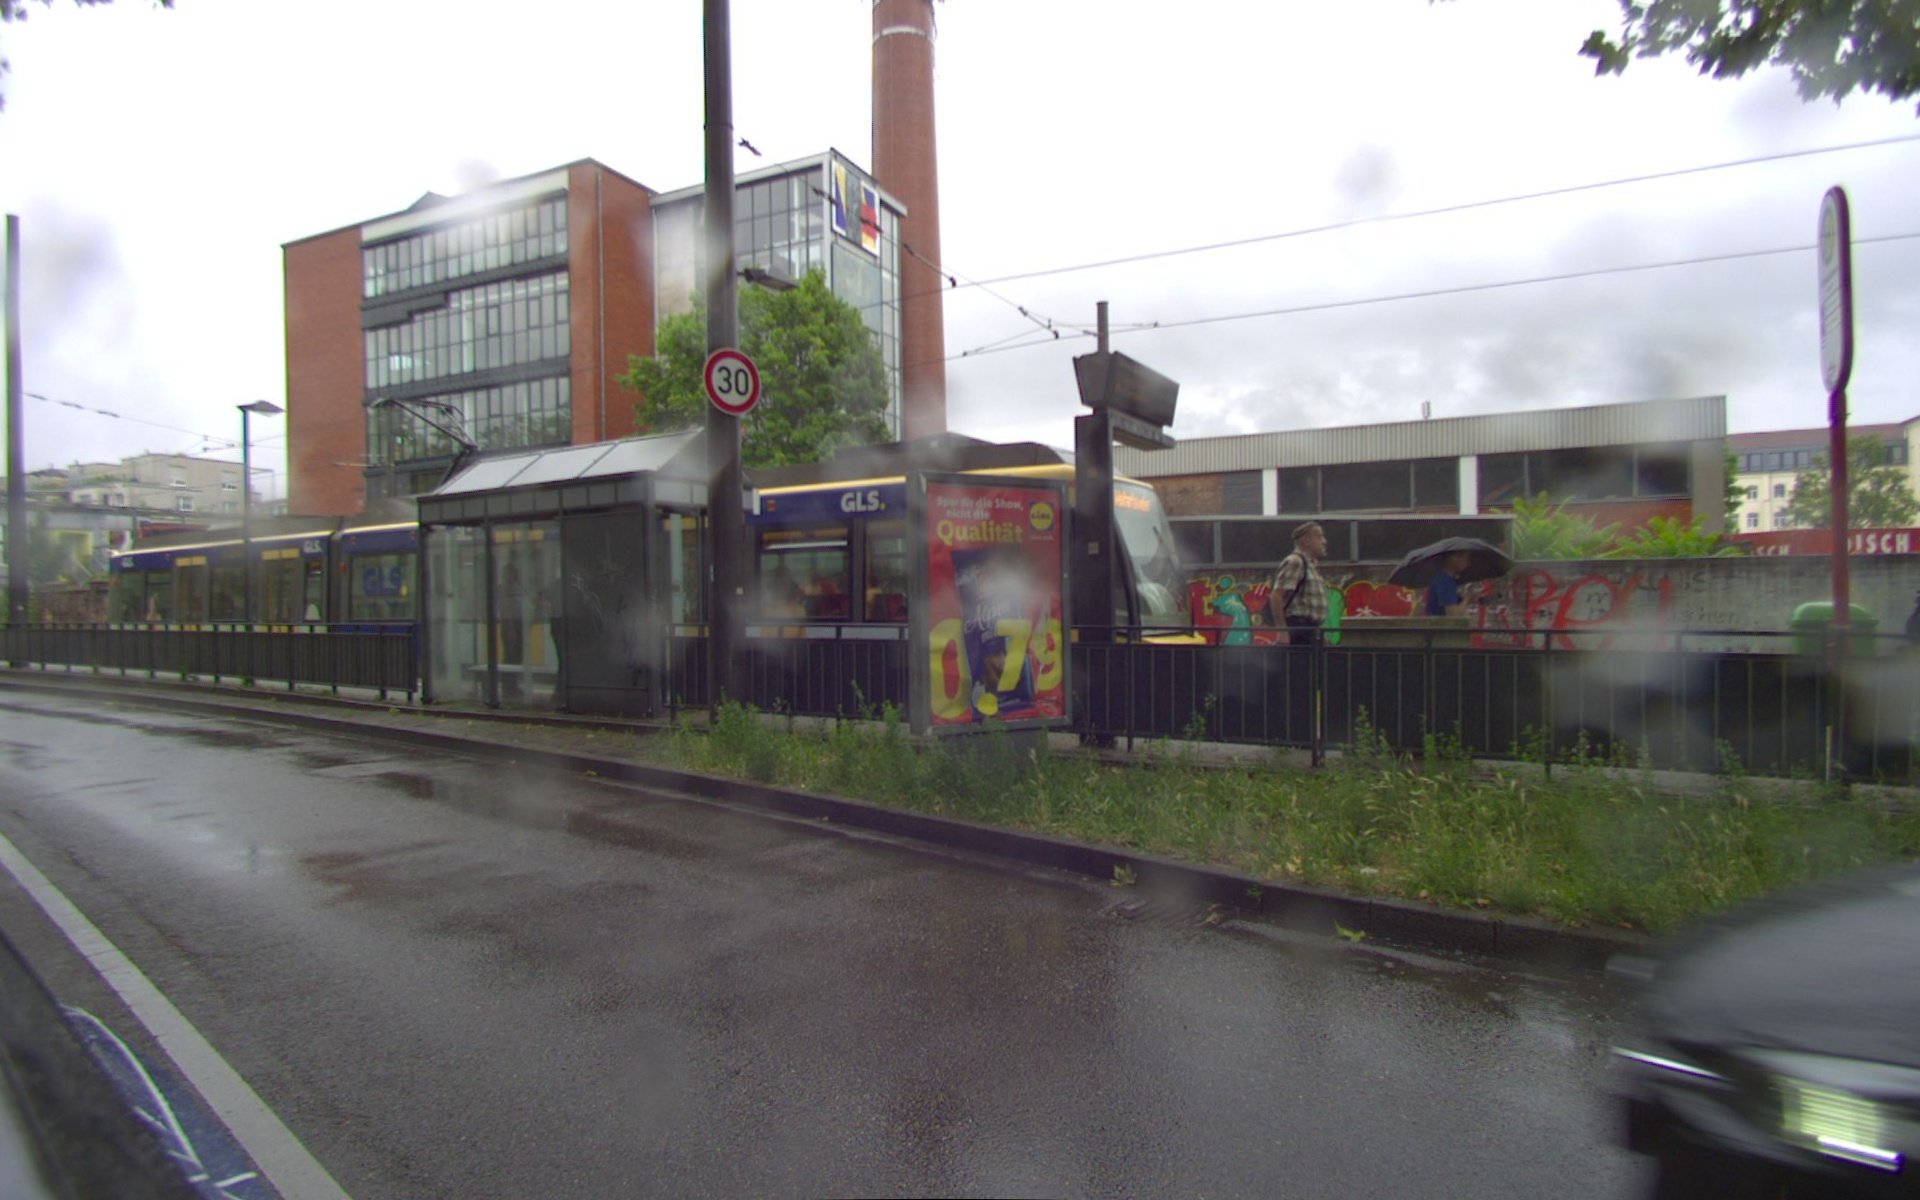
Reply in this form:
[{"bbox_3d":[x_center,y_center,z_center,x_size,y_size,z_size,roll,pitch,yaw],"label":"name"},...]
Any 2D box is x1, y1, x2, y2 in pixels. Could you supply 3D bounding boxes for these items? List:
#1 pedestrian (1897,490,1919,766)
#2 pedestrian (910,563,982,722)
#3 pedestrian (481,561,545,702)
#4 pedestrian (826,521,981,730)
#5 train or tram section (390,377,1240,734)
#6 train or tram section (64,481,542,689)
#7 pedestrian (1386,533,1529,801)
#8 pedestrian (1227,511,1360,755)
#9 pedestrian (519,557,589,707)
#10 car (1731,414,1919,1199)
[{"bbox_3d":[6.222,0.149,5.897,0.651,1.696,0.797,-2,-3,4],"label":"pedestrian"},{"bbox_3d":[-0.139,0.450,10.648,0.651,1.584,0.797,-2,-3,4],"label":"pedestrian"},{"bbox_3d":[-5.787,0.395,13.115,0.620,1.762,0.515,-1,0,-41],"label":"pedestrian"},{"bbox_3d":[-0.528,0.264,9.580,1.072,1.840,0.975,-4,-4,30],"label":"pedestrian"},{"bbox_3d":[-3.112,-0.346,14.893,13.666,3.572,2.839,-1,0,31],"label":"train or tram section"},{"bbox_3d":[-15.408,-0.146,22.673,15.323,3.572,2.838,-1,0,32],"label":"train or tram section"},{"bbox_3d":[3.789,0.475,7.696,0.888,1.878,0.863,-1,0,29],"label":"pedestrian"},{"bbox_3d":[2.620,0.243,7.916,0.826,1.768,0.859,-1,0,27],"label":"pedestrian"},{"bbox_3d":[-4.924,0.376,12.279,0.620,1.762,0.565,-1,0,-41],"label":"pedestrian"},{"bbox_3d":[3.174,0.535,0.597,4.232,1.603,1.734,-1,0,40],"label":"car"}]
